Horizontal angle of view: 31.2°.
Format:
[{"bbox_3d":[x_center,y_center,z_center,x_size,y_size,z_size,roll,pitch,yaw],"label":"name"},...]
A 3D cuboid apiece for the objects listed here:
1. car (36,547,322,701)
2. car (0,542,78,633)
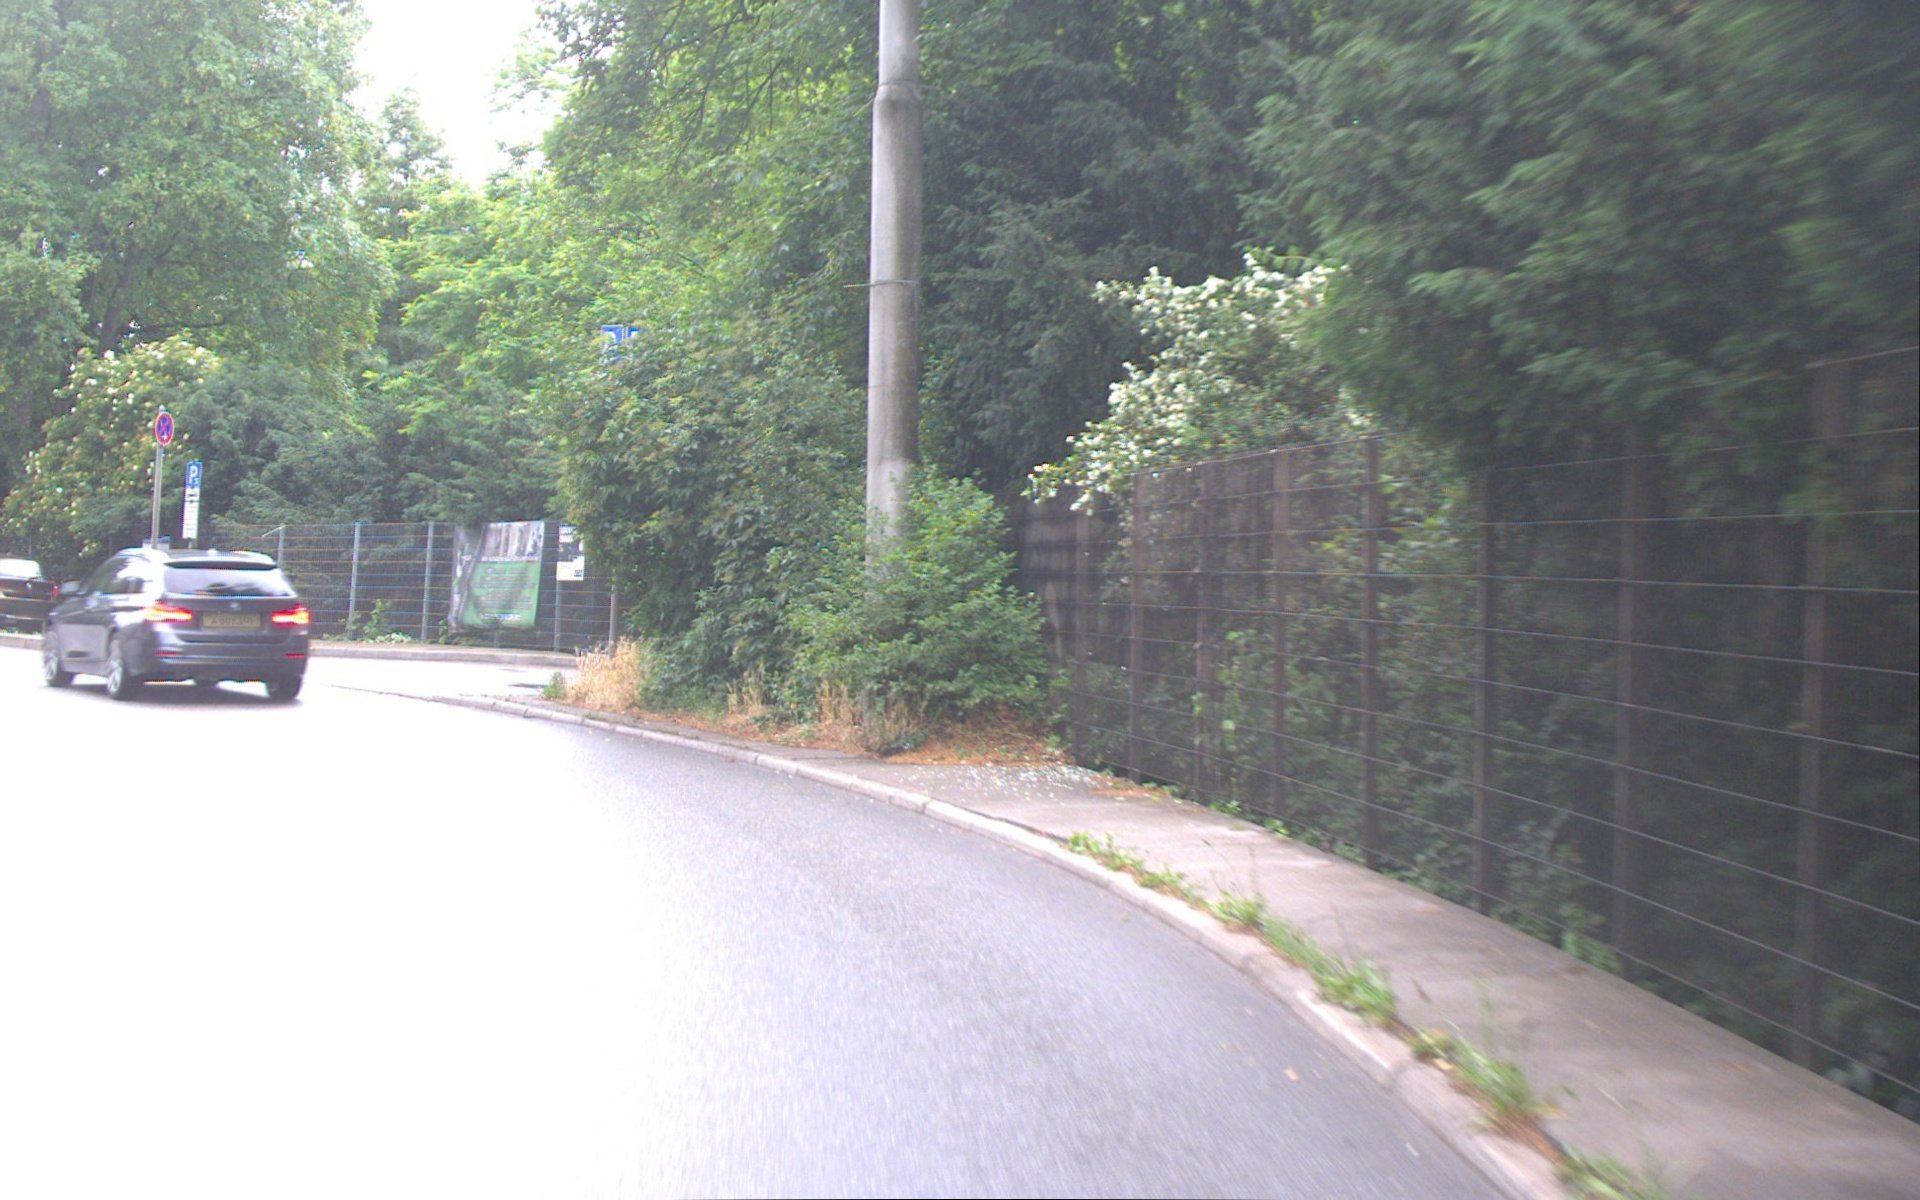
[{"bbox_3d":[-7.811,0.191,34.091,1.757,1.427,4.413,0,1,-27],"label":"car"},{"bbox_3d":[-17.212,-0.299,59.239,4.368,1.422,1.688,3,-2,43],"label":"car"}]
